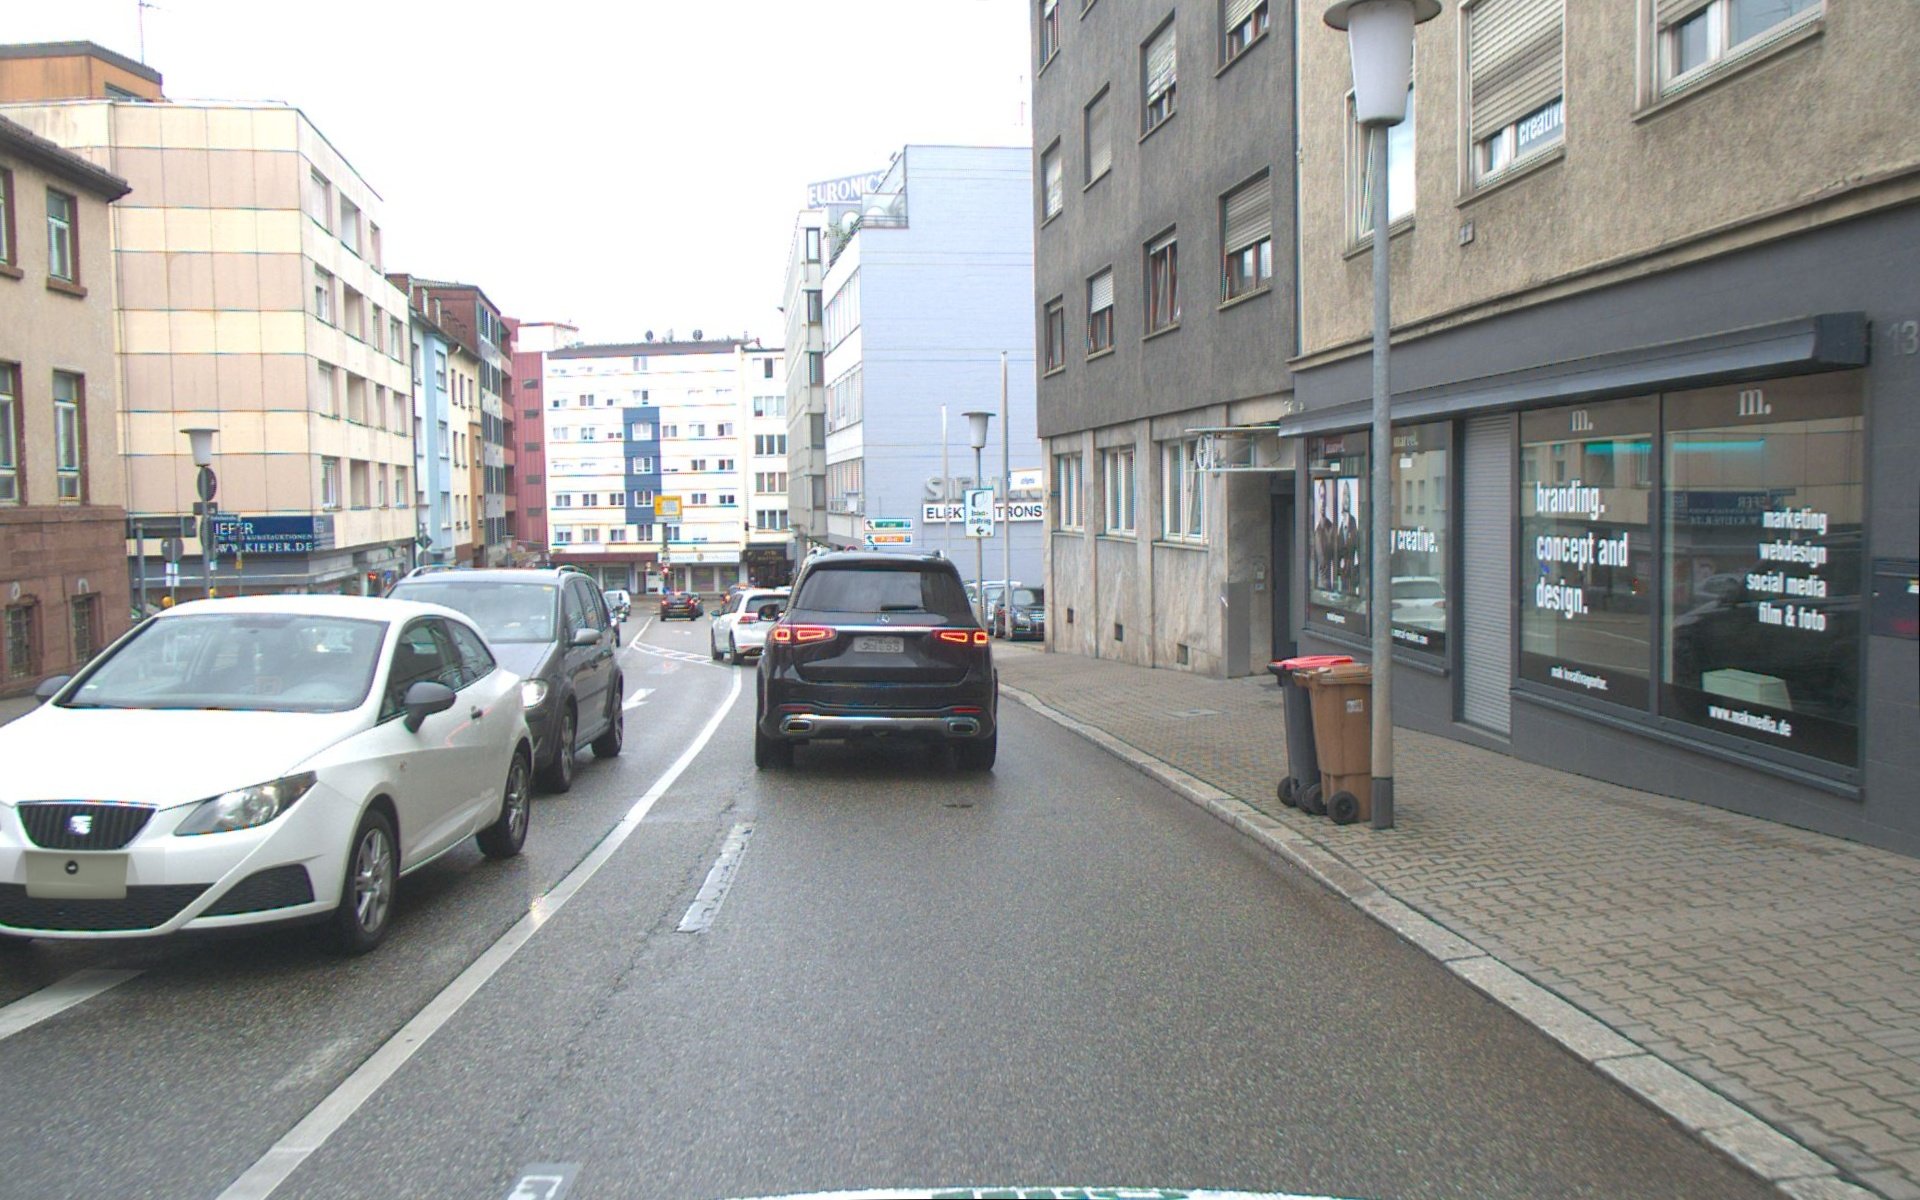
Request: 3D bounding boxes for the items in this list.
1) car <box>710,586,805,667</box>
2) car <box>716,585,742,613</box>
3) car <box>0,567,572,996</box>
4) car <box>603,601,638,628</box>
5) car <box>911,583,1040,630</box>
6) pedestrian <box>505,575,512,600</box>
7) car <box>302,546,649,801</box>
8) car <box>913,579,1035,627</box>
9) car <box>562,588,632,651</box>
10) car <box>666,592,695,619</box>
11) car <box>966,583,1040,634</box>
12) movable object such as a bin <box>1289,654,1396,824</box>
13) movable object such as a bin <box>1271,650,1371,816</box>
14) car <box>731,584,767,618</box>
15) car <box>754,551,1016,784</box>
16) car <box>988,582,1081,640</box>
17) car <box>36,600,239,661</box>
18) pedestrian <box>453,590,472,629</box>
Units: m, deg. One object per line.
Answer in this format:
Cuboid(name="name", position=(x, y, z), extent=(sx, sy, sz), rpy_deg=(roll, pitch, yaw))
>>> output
Cuboid(name="car", position=(-4.232, 0.493, 34.264), extent=(1.796, 1.487, 4.371), rpy_deg=(-2, 1, -8))
Cuboid(name="car", position=(-13.754, -0.085, 98.647), extent=(1.493, 1.575, 3.102), rpy_deg=(-1, 1, -7))
Cuboid(name="car", position=(-3.184, 0.647, 8.002), extent=(1.664, 1.506, 4.289), rpy_deg=(1, 0, -1))
Cuboid(name="car", position=(-18.562, 0.789, 90.308), extent=(1.686, 1.340, 4.128), rpy_deg=(-1, 1, -14))
Cuboid(name="car", position=(0.520, 0.245, 54.779), extent=(3.942, 1.521, 1.717), rpy_deg=(0, -1, -29))
Cuboid(name="pedestrian", position=(-27.955, -0.758, 102.405), extent=(0.312, 1.499, 0.338), rpy_deg=(0, 4, -5))
Cuboid(name="car", position=(-3.758, 0.516, 13.672), extent=(1.771, 1.735, 4.558), rpy_deg=(1, 0, -4))
Cuboid(name="car", position=(0.492, 0.132, 57.461), extent=(3.942, 1.625, 1.782), rpy_deg=(0, -1, -29))
Cuboid(name="car", position=(-9.758, 0.506, 44.588), extent=(1.693, 1.542, 4.356), rpy_deg=(-2, 0, -12))
Cuboid(name="car", position=(-14.111, 0.277, 83.650), extent=(1.260, 1.143, 2.785), rpy_deg=(0, 5, -6))
Cuboid(name="car", position=(1.266, 0.242, 50.719), extent=(1.537, 1.503, 4.061), rpy_deg=(0, 0, -9))
Cuboid(name="movable object such as a bin", position=(2.349, 0.846, 10.201), extent=(0.514, 0.966, 0.537), rpy_deg=(0, 4, -1))
Cuboid(name="movable object such as a bin", position=(2.344, 0.852, 10.766), extent=(0.514, 0.997, 0.537), rpy_deg=(0, 4, -1))
Cuboid(name="car", position=(-10.201, 0.034, 79.708), extent=(1.495, 1.575, 3.099), rpy_deg=(-1, 1, -11))
Cuboid(name="car", position=(-0.857, 0.517, 15.097), extent=(1.982, 1.770, 4.739), rpy_deg=(1, 0, -7))
Cuboid(name="car", position=(1.984, 0.276, 45.383), extent=(1.763, 1.503, 4.477), rpy_deg=(0, 0, -8))
Cuboid(name="car", position=(-21.085, 0.763, 42.499), extent=(4.243, 1.539, 1.898), rpy_deg=(0, 0, 1))
Cuboid(name="pedestrian", position=(-22.507, 0.426, 74.878), extent=(0.727, 1.680, 0.604), rpy_deg=(-1, 4, -13))
